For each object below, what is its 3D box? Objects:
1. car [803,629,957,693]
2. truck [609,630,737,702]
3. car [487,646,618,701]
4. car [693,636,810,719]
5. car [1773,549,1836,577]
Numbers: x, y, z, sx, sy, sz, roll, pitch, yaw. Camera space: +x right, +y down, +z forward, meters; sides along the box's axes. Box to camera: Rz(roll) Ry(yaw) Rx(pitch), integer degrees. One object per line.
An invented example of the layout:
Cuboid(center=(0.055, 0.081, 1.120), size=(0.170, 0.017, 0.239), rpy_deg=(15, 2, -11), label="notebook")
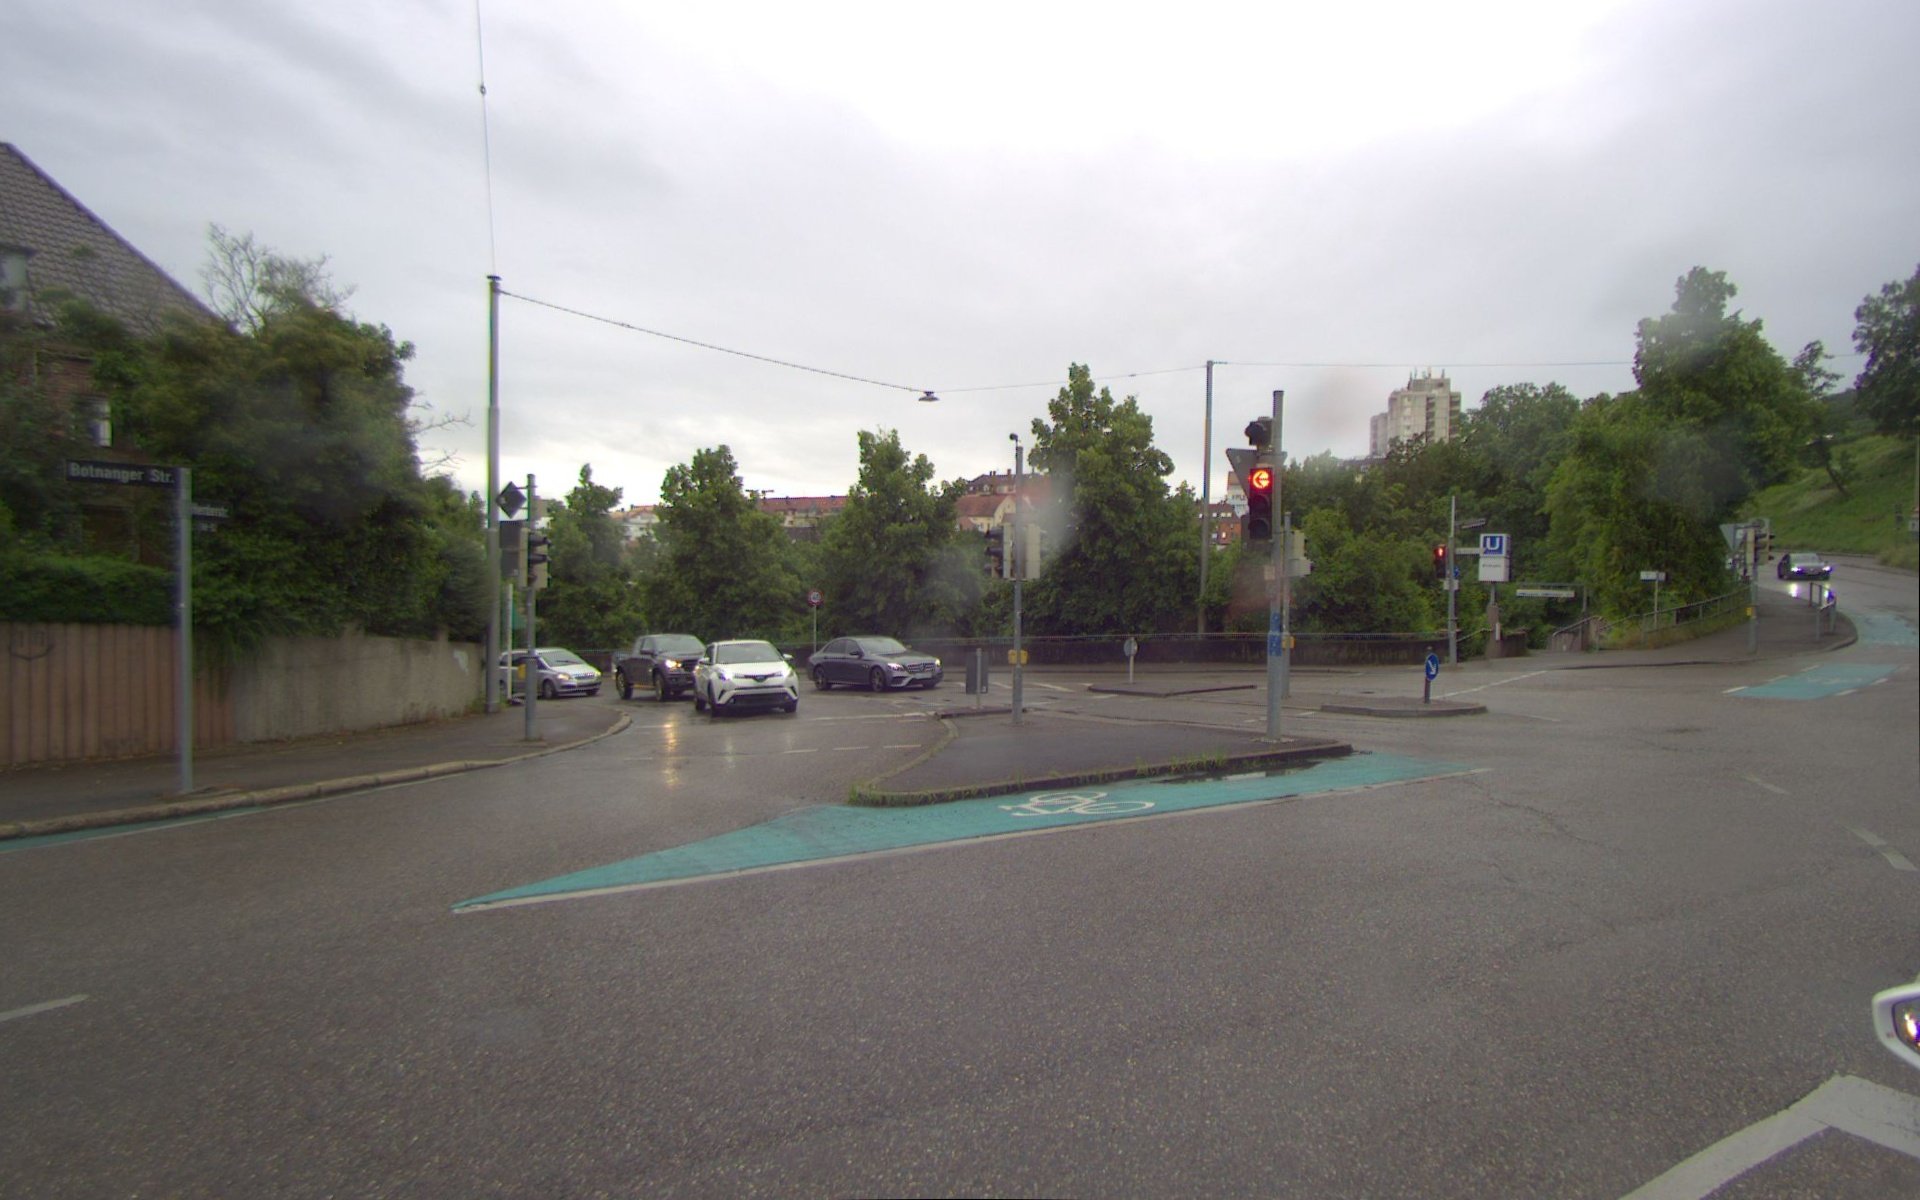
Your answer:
Cuboid(center=(-2.279, 1.653, 27.571), size=(1.964, 1.527, 4.437), rpy_deg=(-2, -1, -40), label="car")
Cuboid(center=(-8.321, 1.902, 28.768), size=(1.890, 1.809, 4.940), rpy_deg=(-2, -3, -36), label="truck")
Cuboid(center=(-13.612, 2.428, 33.469), size=(4.238, 1.653, 1.853), rpy_deg=(-2, -1, 31), label="car")
Cuboid(center=(-4.577, 1.631, 21.620), size=(1.810, 1.527, 3.866), rpy_deg=(-2, -2, -21), label="car")
Cuboid(center=(48.016, -2.098, 57.204), size=(1.928, 1.532, 4.395), rpy_deg=(1, 3, 30), label="car")
